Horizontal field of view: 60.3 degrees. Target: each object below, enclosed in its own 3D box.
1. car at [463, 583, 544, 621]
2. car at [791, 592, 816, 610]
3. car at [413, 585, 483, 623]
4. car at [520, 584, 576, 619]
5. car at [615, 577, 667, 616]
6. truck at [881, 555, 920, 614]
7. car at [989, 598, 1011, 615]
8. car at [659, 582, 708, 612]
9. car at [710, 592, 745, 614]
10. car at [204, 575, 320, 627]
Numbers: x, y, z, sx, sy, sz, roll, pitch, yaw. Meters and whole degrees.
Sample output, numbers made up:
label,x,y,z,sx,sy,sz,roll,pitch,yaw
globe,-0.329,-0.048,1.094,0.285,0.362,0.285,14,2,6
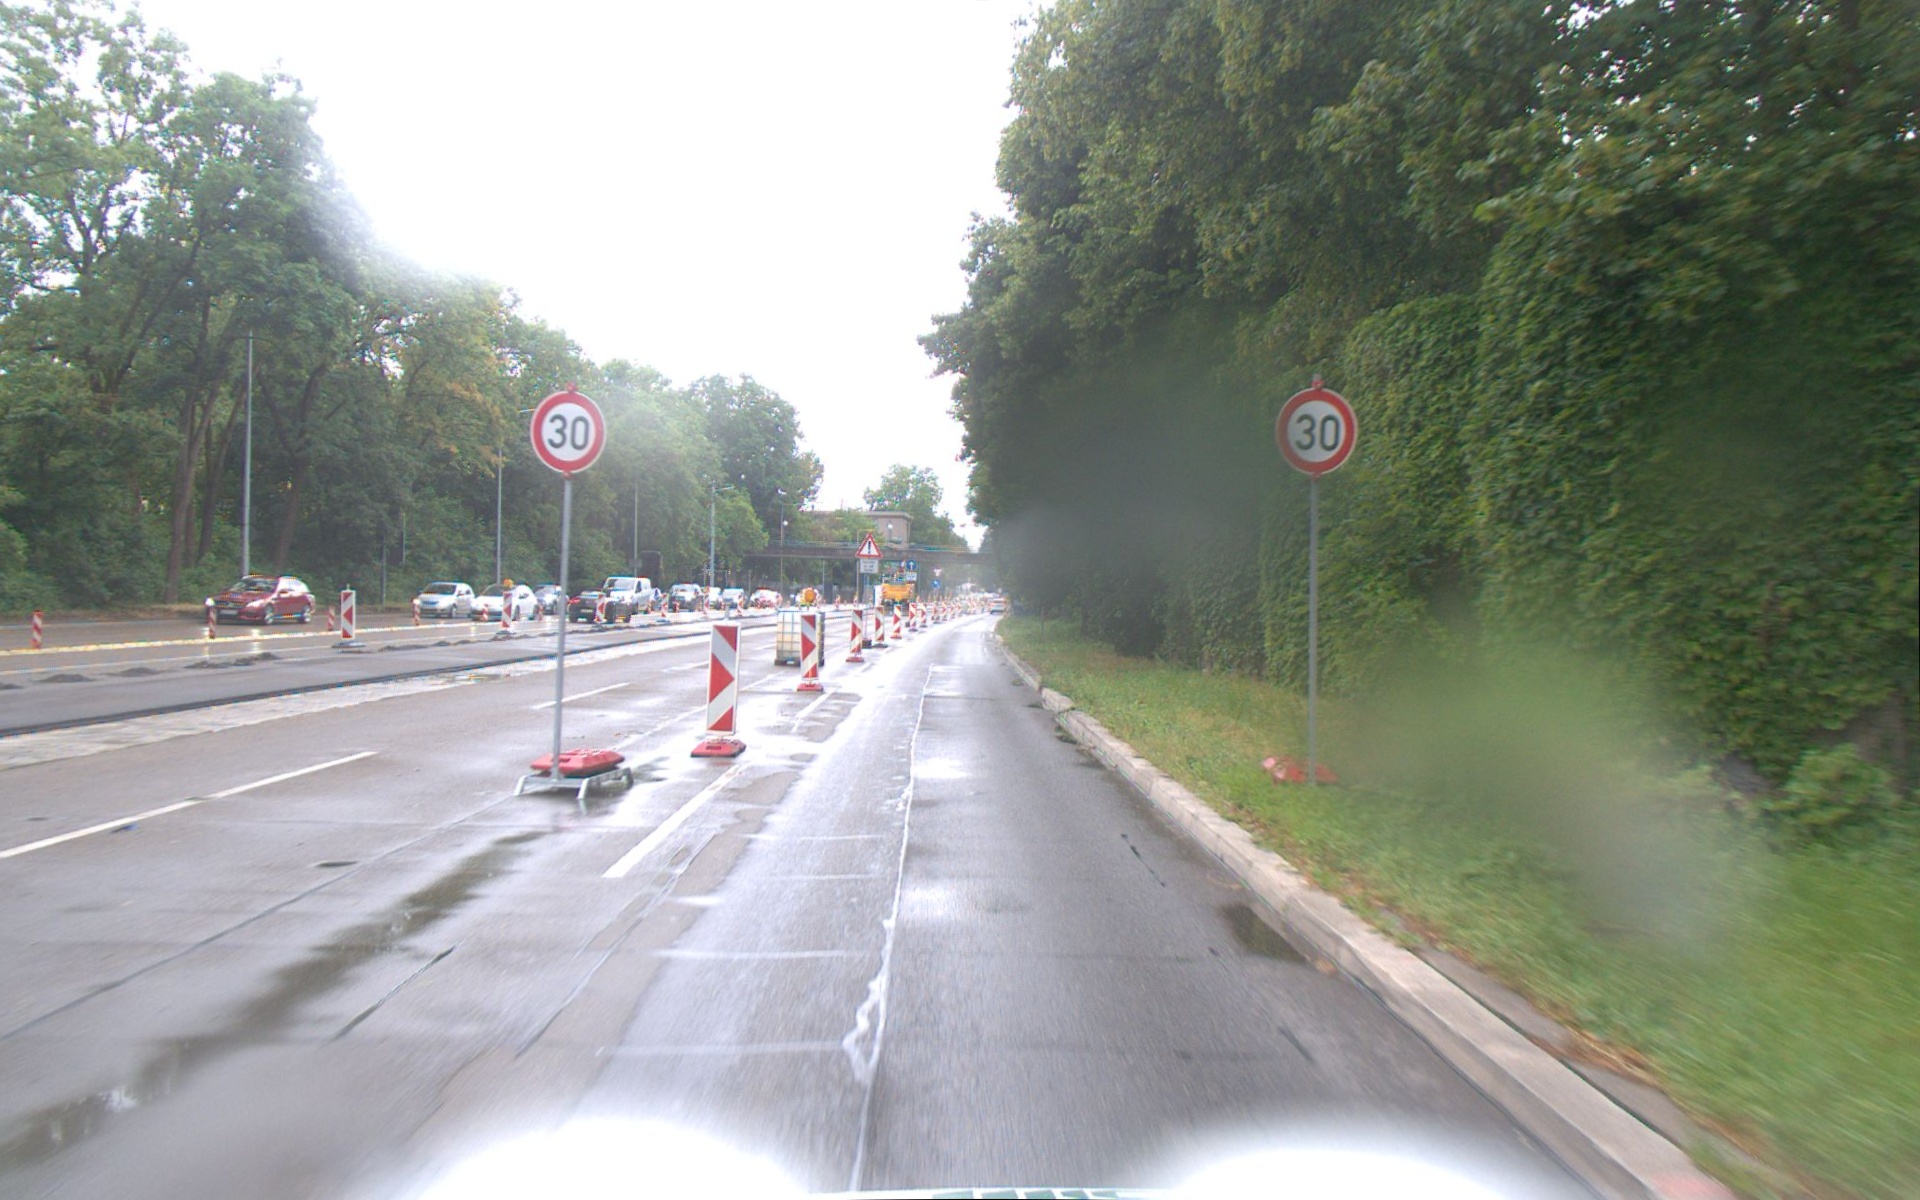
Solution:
label,x,y,z,sx,sy,sz,roll,pitch,yaw
car,-18.222,0.082,66.170,1.952,1.440,4.393,0,0,1
car,-14.989,0.109,158.866,1.851,1.690,4.893,2,0,0
car,-20.818,0.170,67.398,1.644,1.425,3.639,2,0,1
car,-20.558,0.062,82.687,1.790,1.650,4.000,1,0,0
car,-16.998,-0.195,88.417,1.954,2.006,4.900,2,0,-3
truck,-4.661,-1.195,131.430,2.839,4.333,10.753,2,0,-1
car,3.953,0.623,162.396,1.952,1.668,4.002,0,0,4
car,-17.370,-0.192,104.089,1.979,1.755,5.014,2,0,2
car,-16.932,0.216,120.657,1.739,1.513,4.198,2,0,3
car,-21.286,0.016,50.641,1.694,1.502,4.486,1,0,-1
